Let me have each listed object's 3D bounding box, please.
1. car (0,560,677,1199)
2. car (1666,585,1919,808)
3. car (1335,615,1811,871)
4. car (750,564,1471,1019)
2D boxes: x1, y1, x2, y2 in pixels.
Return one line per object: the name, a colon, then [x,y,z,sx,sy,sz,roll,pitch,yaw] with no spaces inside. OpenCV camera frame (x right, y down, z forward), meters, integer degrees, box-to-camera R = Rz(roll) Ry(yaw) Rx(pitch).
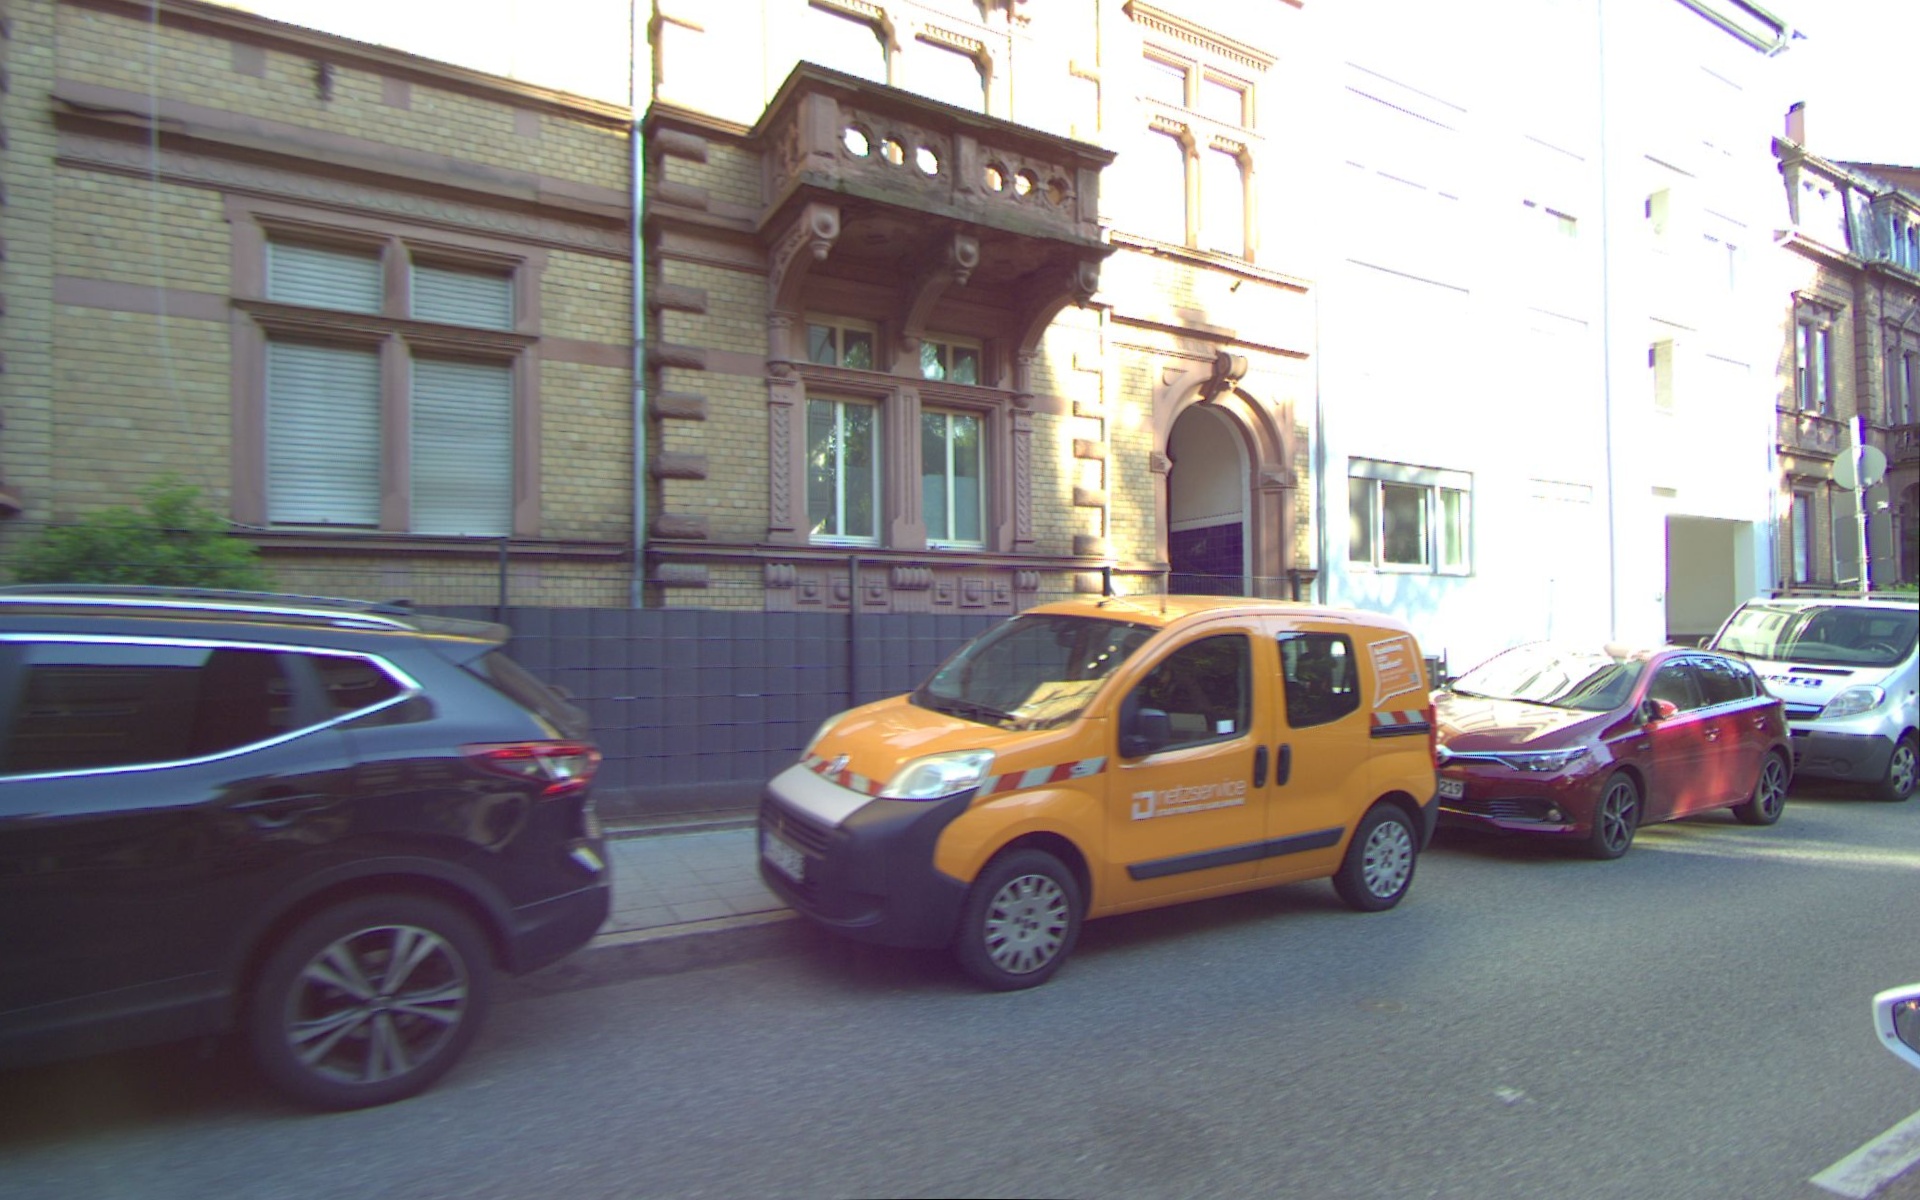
car: [-3.326,0.760,3.242,4.386,1.730,1.695,1,-1,-29]
car: [9.948,0.921,11.142,4.644,2.037,1.784,1,-1,-31]
car: [5.136,0.965,8.283,4.071,1.641,1.694,1,-1,-31]
car: [0.939,0.777,5.621,3.813,1.761,1.694,1,-1,-31]
